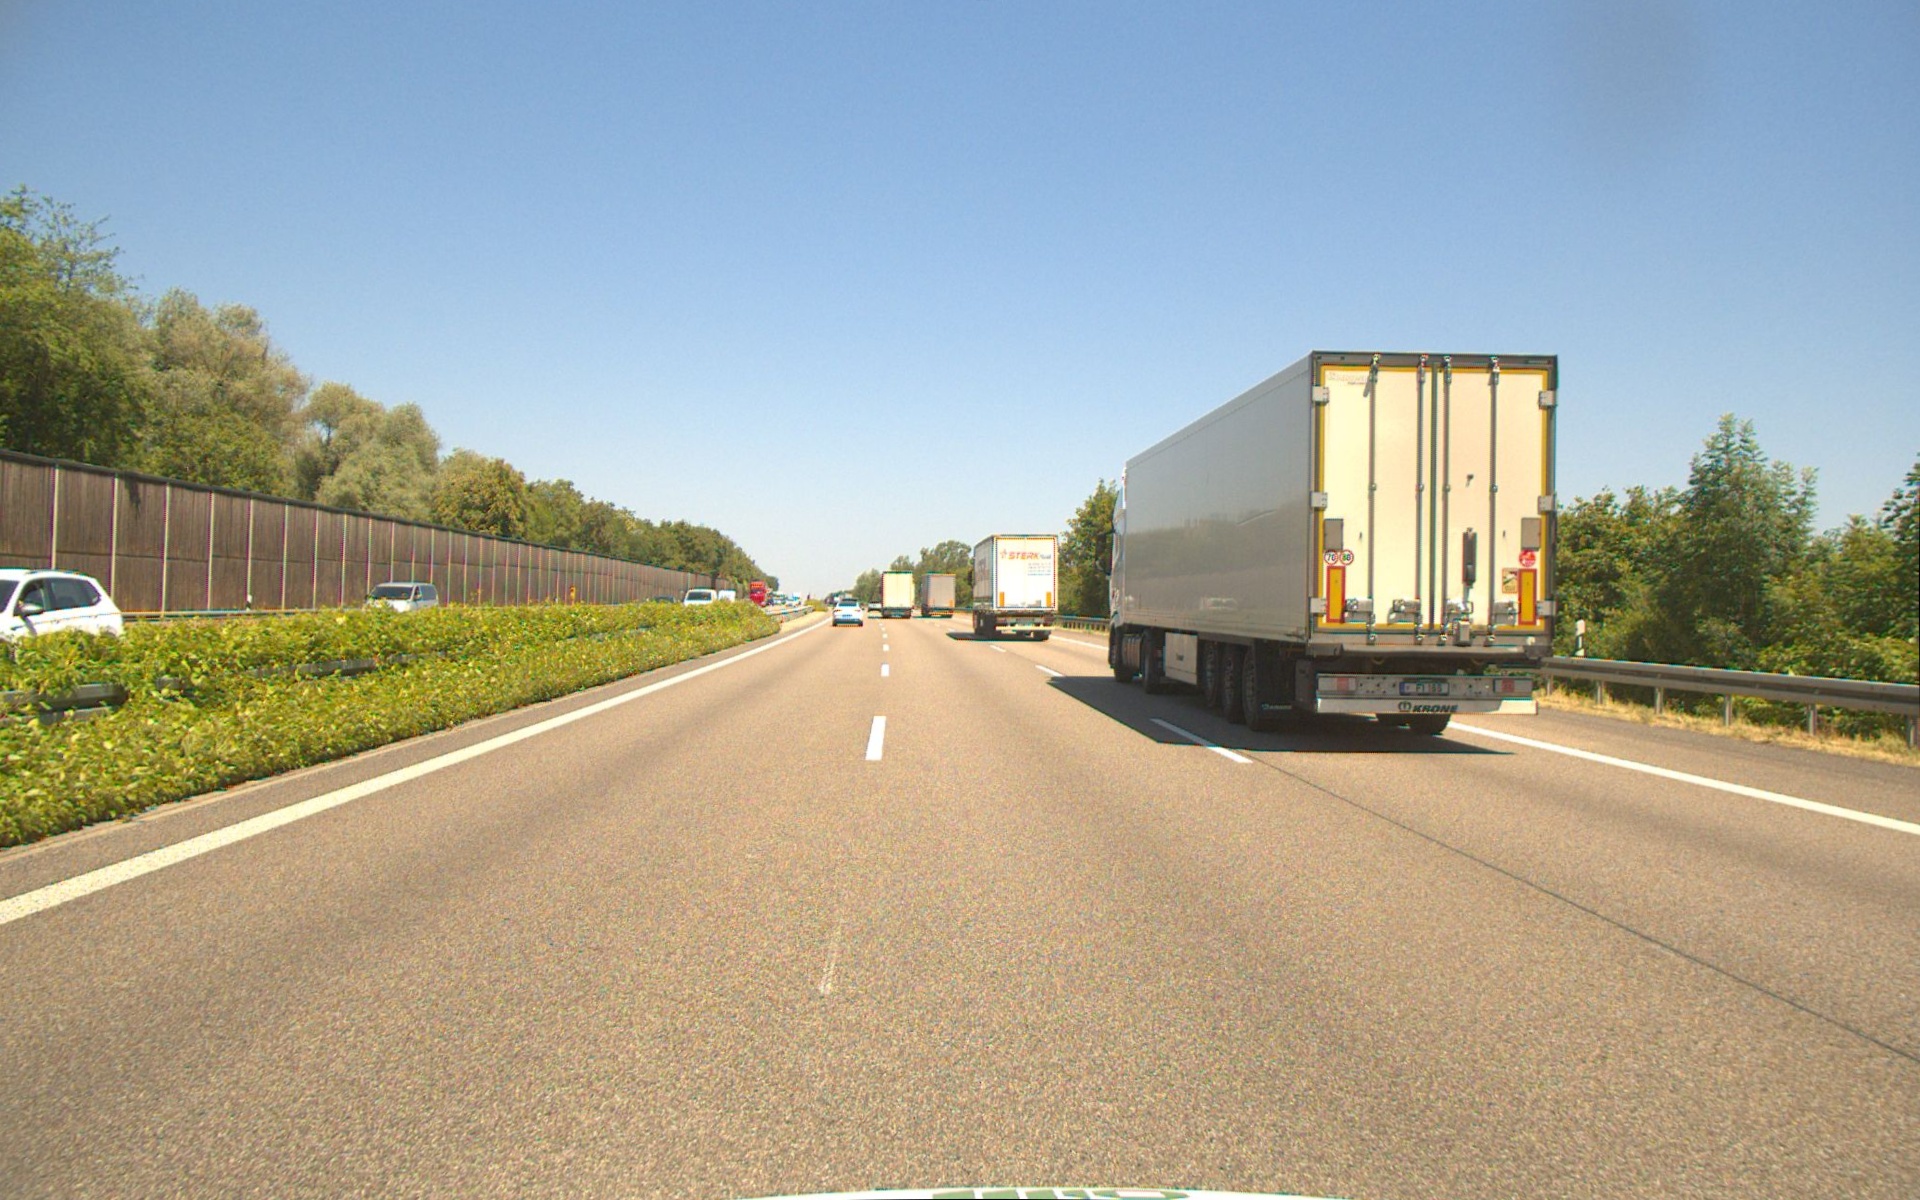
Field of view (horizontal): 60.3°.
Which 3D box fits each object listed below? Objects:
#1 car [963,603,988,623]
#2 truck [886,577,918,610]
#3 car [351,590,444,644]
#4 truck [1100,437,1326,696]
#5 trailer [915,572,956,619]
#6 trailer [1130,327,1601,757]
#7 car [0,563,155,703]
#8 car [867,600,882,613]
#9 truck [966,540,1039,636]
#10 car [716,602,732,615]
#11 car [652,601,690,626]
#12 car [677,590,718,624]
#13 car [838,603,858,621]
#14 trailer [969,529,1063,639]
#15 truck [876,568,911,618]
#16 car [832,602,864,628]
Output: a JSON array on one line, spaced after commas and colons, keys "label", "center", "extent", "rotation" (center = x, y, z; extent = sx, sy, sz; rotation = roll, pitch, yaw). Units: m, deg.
[{"label": "car", "center": [1.289, 1.130, 141.940], "extent": [1.818, 1.645, 3.997], "rotation": [1, 0, -4]}, {"label": "truck", "center": [-8.322, -0.946, 236.144], "extent": [3.311, 4.378, 11.430], "rotation": [4, -1, -8]}, {"label": "car", "center": [-22.199, 0.647, 65.466], "extent": [1.953, 2.049, 5.383], "rotation": [1, 0, -2]}, {"label": "truck", "center": [4.377, -0.535, 29.953], "extent": [2.899, 4.178, 6.204], "rotation": [1, 0, -2]}, {"label": "trailer", "center": [-2.459, -0.386, 160.054], "extent": [2.651, 4.289, 13.194], "rotation": [2, -1, -6]}, {"label": "trailer", "center": [4.634, -0.552, 22.469], "extent": [2.899, 4.178, 12.527], "rotation": [1, 0, -2]}, {"label": "car", "center": [-12.553, 0.391, 21.449], "extent": [1.954, 1.676, 5.042], "rotation": [1, 0, -3]}, {"label": "car", "center": [-11.234, 0.841, 217.408], "extent": [1.818, 1.645, 3.998], "rotation": [1, 0, -2]}, {"label": "truck", "center": [1.883, -0.521, 75.914], "extent": [2.654, 4.160, 6.958], "rotation": [1, 0, -4]}, {"label": "car", "center": [-32.826, 1.193, 230.035], "extent": [1.862, 1.741, 4.901], "rotation": [1, 0, -5]}, {"label": "car", "center": [-20.057, 0.894, 115.063], "extent": [1.954, 1.672, 5.582], "rotation": [1, 0, -3]}, {"label": "car", "center": [-16.279, 0.413, 102.837], "extent": [1.954, 2.049, 5.342], "rotation": [1, 0, -3]}, {"label": "car", "center": [-10.697, 1.114, 158.306], "extent": [1.818, 1.645, 3.997], "rotation": [1, 0, -4]}, {"label": "trailer", "center": [2.183, -0.569, 70.605], "extent": [2.653, 4.160, 14.140], "rotation": [1, 0, -3]}, {"label": "truck", "center": [-6.024, -0.542, 148.884], "extent": [2.653, 4.157, 13.462], "rotation": [2, -1, -4]}, {"label": "car", "center": [-6.702, 0.886, 99.023], "extent": [1.818, 1.512, 3.997], "rotation": [1, 0, -4]}]
